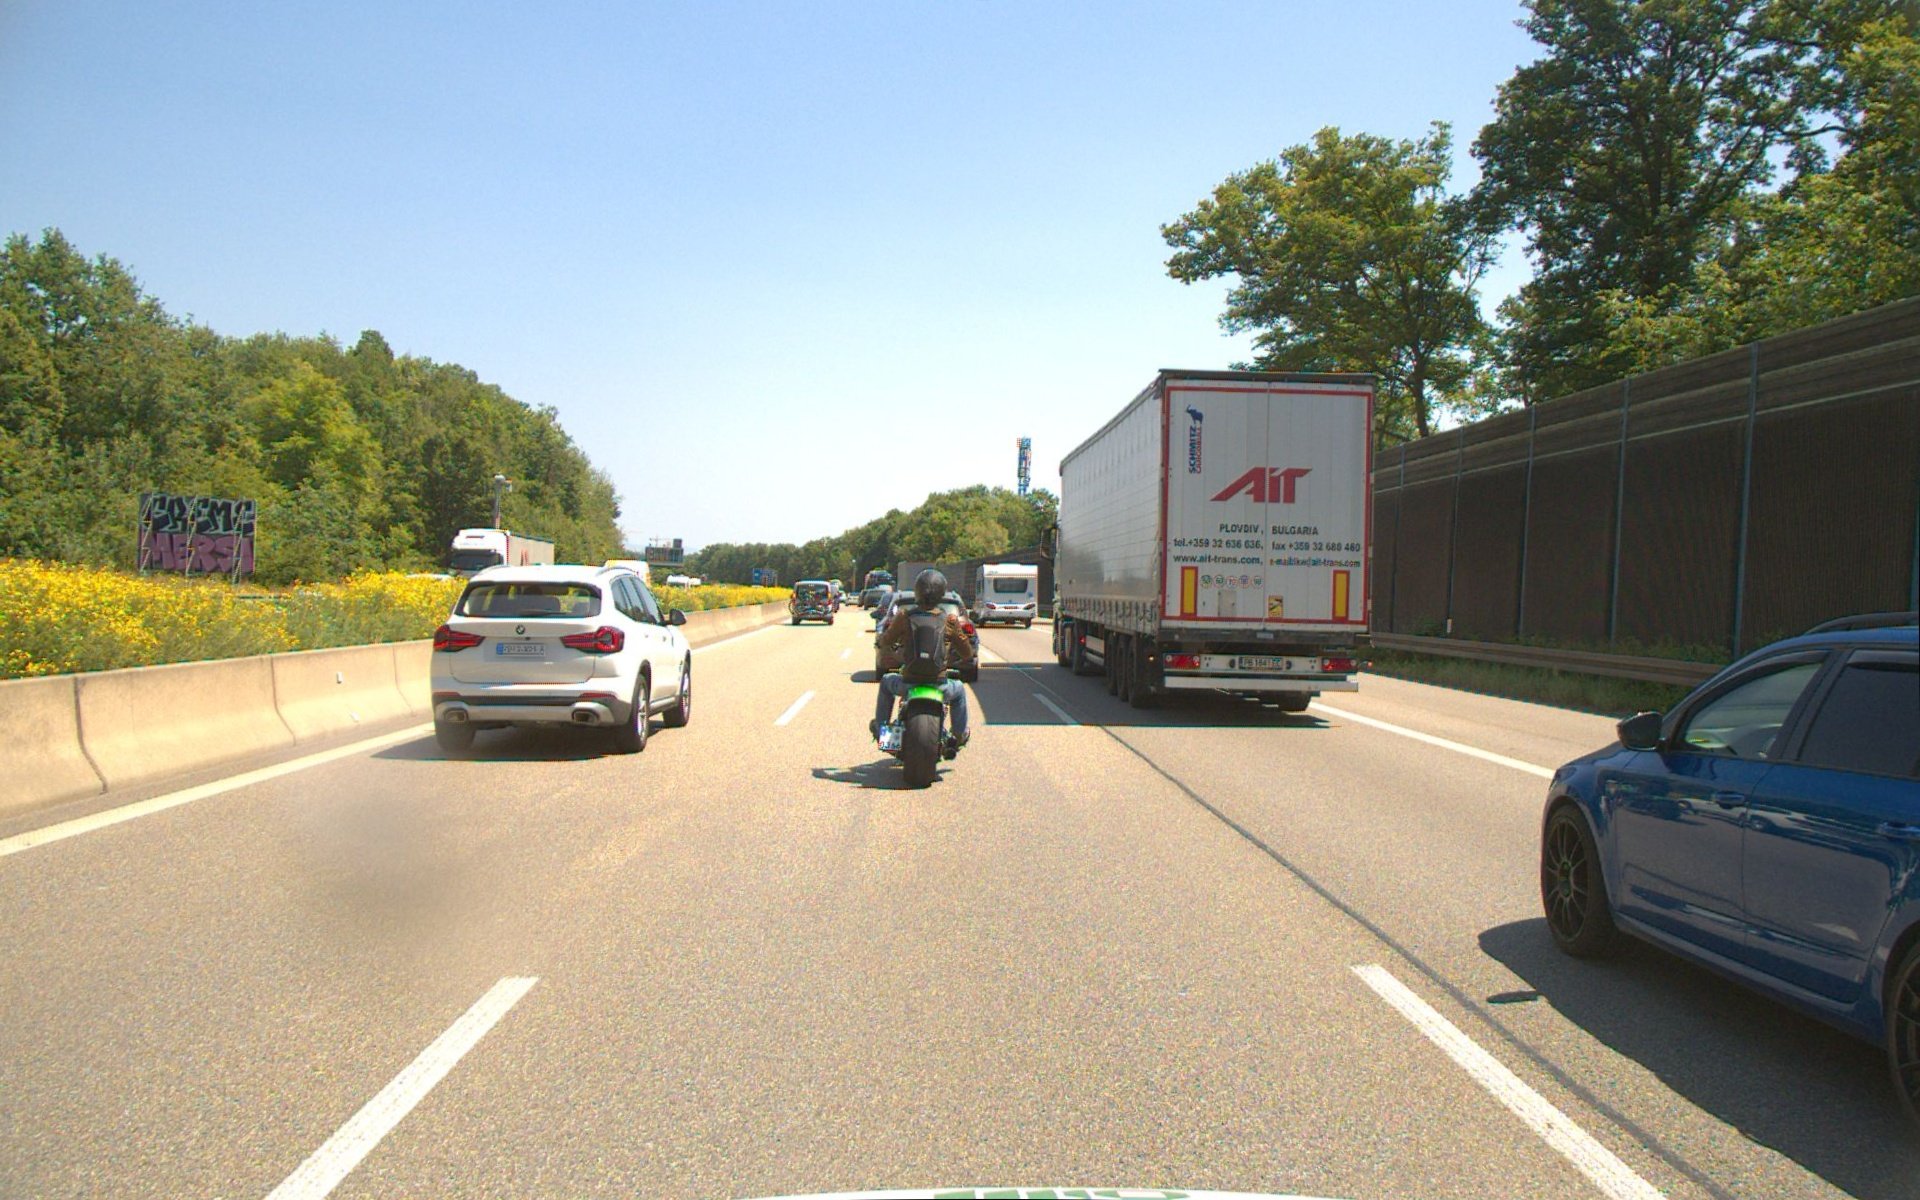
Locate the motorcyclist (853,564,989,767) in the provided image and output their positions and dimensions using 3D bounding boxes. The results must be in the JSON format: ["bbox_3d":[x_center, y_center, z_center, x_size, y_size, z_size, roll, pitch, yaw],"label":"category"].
[{"bbox_3d":[-0.274,0.499,13.255,0.880,1.501,1.873,1,-1,5],"label":"motorcyclist"}]

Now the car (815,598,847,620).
[{"bbox_3d":[-8.362,0.599,107.170,1.954,1.411,3.997,1,-1,-3],"label":"car"}]

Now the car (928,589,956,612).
[{"bbox_3d":[-1.371,0.062,124.839,1.954,1.601,3.997,1,-1,-4],"label":"car"}]

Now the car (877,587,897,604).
[{"bbox_3d":[-8.573,-0.517,193.844,2.067,1.909,3.994,1,-1,-6],"label":"car"}]

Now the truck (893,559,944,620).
[{"bbox_3d":[-3.670,-0.863,143.797,3.729,5.047,8.938,1,-1,-6],"label":"truck"}]

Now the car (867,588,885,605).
[{"bbox_3d":[-10.123,-0.443,199.465,2.066,1.909,3.996,1,-1,-5],"label":"car"}]

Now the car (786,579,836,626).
[{"bbox_3d":[-6.372,0.141,71.011,1.861,1.906,4.410,1,-1,-2],"label":"car"}]

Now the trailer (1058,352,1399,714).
[{"bbox_3d":[3.491,-0.780,25.862,2.827,4.109,13.792,1,0,-1],"label":"trailer"}]

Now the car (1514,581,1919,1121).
[{"bbox_3d":[3.474,0.727,5.555,1.617,1.509,4.480,1,-1,-2],"label":"car"}]

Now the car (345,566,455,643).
[{"bbox_3d":[-15.664,0.163,46.455,1.840,2.049,3.997,1,-1,-3],"label":"car"}]

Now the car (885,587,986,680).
[{"bbox_3d":[-0.439,0.576,28.808,1.628,1.478,3.867,1,-1,-1],"label":"car"}]

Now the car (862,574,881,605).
[{"bbox_3d":[-11.397,-1.344,212.972,2.092,3.929,8.134,1,0,-5],"label":"car"}]

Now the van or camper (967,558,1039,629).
[{"bbox_3d":[1.777,-0.194,70.794,2.631,2.862,6.799,1,-1,-2],"label":"van or camper"}]

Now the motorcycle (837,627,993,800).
[{"bbox_3d":[-0.302,0.842,13.350,0.944,1.168,2.813,1,0,4],"label":"motorcycle"}]

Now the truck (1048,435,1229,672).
[{"bbox_3d":[3.375,-0.841,32.736,2.827,4.218,5.985,1,0,-1],"label":"truck"}]

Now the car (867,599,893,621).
[{"bbox_3d":[-6.181,0.796,127.744,1.954,1.669,3.997,1,-1,-3],"label":"car"}]

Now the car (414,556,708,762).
[{"bbox_3d":[-3.755,0.505,16.497,1.826,1.724,4.954,1,0,-1],"label":"car"}]

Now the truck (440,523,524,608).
[{"bbox_3d":[-25.025,-1.730,86.877,2.905,4.179,6.083,1,-1,-4],"label":"truck"}]

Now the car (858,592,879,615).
[{"bbox_3d":[-8.754,0.342,158.461,1.874,2.049,3.686,1,-1,-5],"label":"car"}]

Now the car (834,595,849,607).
[{"bbox_3d":[-15.696,0.129,219.624,1.797,1.522,3.738,1,-1,-6],"label":"car"}]

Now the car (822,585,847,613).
[{"bbox_3d":[-9.647,-0.038,127.259,1.755,2.049,3.640,1,-1,-2],"label":"car"}]

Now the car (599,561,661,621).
[{"bbox_3d":[-17.129,-0.468,86.202,2.027,2.947,7.459,1,0,-2],"label":"car"}]

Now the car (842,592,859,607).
[{"bbox_3d":[-12.088,-0.058,181.928,1.796,1.522,3.739,1,-1,-5],"label":"car"}]

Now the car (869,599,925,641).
[{"bbox_3d":[-2.301,0.738,60.456,1.953,1.455,3.845,1,-1,-2],"label":"car"}]

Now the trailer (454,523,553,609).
[{"bbox_3d":[-25.490,-1.746,93.096,2.869,4.306,13.051,1,-1,-4],"label":"trailer"}]
